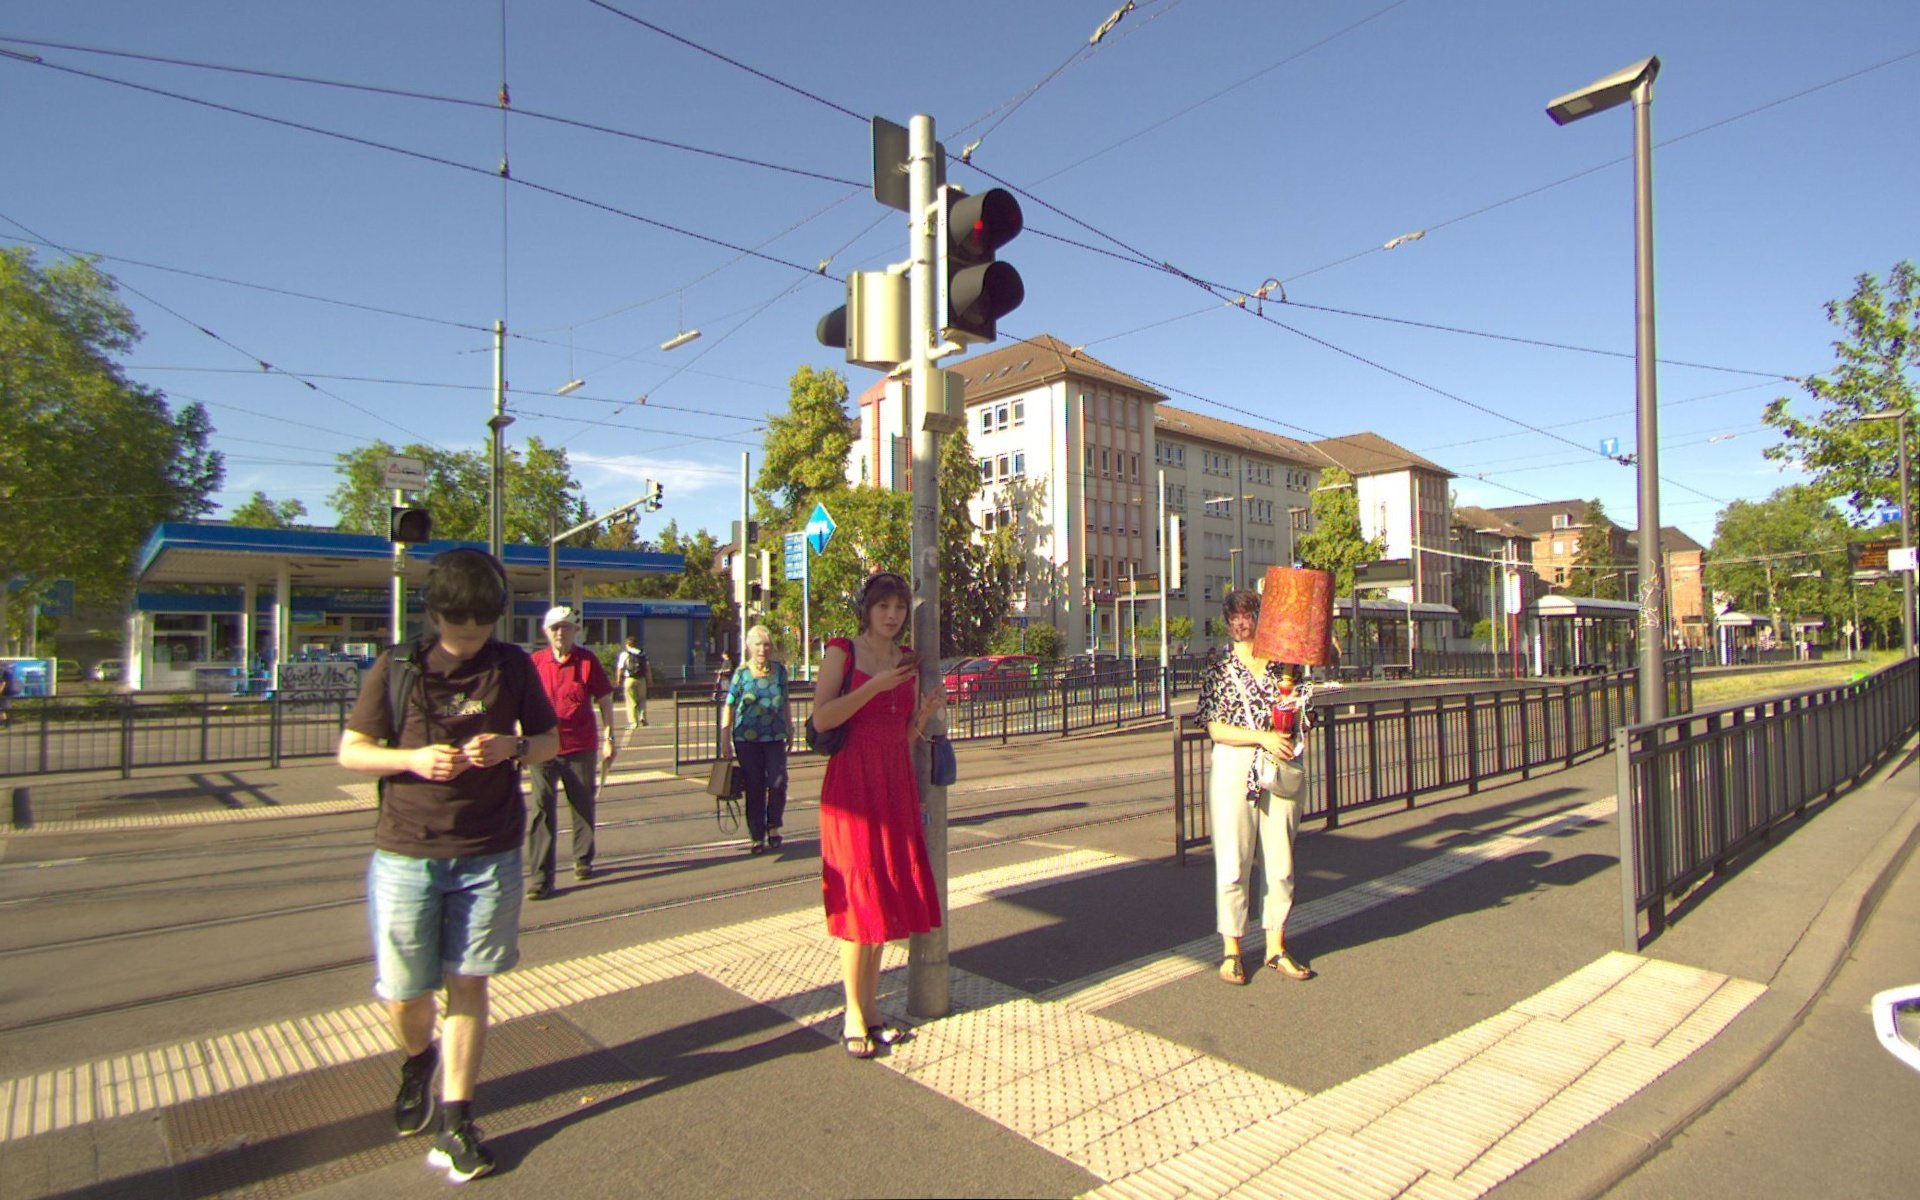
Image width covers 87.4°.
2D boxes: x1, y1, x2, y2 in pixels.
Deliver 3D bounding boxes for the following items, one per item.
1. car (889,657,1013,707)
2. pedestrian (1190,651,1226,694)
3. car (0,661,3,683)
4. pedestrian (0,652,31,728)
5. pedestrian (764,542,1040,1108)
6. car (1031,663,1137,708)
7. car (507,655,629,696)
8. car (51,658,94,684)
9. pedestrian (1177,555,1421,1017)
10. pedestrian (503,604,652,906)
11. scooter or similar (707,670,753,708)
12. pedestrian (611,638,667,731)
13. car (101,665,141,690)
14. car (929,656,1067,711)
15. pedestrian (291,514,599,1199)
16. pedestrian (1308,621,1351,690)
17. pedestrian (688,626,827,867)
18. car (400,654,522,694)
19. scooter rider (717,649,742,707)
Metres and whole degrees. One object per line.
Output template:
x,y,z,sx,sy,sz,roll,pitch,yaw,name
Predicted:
-0.256,2.679,33.301,3.968,1.539,1.722,2,-4,-41,car
8.379,2.447,33.959,1.031,1.439,0.575,-3,-4,44,pedestrian
-66.228,4.862,67.898,1.868,1.505,3.955,2,-4,-40,car
-22.634,2.122,23.758,0.738,1.751,0.729,-2,-2,-27,pedestrian
-0.260,0.719,3.696,0.827,1.755,0.902,0,-3,-16,pedestrian
4.683,3.175,37.668,3.968,1.539,1.722,2,-4,-41,car
-15.511,2.963,39.870,4.188,1.505,1.696,2,-4,-42,car
-55.114,4.400,62.428,1.868,1.505,3.955,2,-4,-40,car
1.387,0.729,4.286,0.773,1.755,0.824,-1,-3,5,pedestrian
-2.398,0.921,6.368,0.813,1.746,0.845,1,-3,-19,pedestrian
-7.759,2.990,33.889,1.465,1.198,0.459,2,-4,-41,scooter or similar
-6.261,1.621,19.588,0.783,1.755,0.814,2,-4,-42,pedestrian
-53.289,4.915,63.862,1.868,1.505,3.955,2,-4,-40,car
1.195,2.461,30.365,4.188,1.505,1.696,2,-4,-42,car
-1.438,0.686,2.956,0.643,1.755,0.799,0,-3,-16,pedestrian
8.733,1.309,23.755,0.720,1.589,0.593,1,-2,-21,pedestrian
-1.513,1.027,7.449,0.853,1.652,0.803,1,-3,-24,pedestrian
-20.265,2.991,40.897,4.188,1.505,1.696,2,-4,-42,car
-7.775,2.635,33.903,0.686,1.925,0.459,2,-4,-41,scooter rider
